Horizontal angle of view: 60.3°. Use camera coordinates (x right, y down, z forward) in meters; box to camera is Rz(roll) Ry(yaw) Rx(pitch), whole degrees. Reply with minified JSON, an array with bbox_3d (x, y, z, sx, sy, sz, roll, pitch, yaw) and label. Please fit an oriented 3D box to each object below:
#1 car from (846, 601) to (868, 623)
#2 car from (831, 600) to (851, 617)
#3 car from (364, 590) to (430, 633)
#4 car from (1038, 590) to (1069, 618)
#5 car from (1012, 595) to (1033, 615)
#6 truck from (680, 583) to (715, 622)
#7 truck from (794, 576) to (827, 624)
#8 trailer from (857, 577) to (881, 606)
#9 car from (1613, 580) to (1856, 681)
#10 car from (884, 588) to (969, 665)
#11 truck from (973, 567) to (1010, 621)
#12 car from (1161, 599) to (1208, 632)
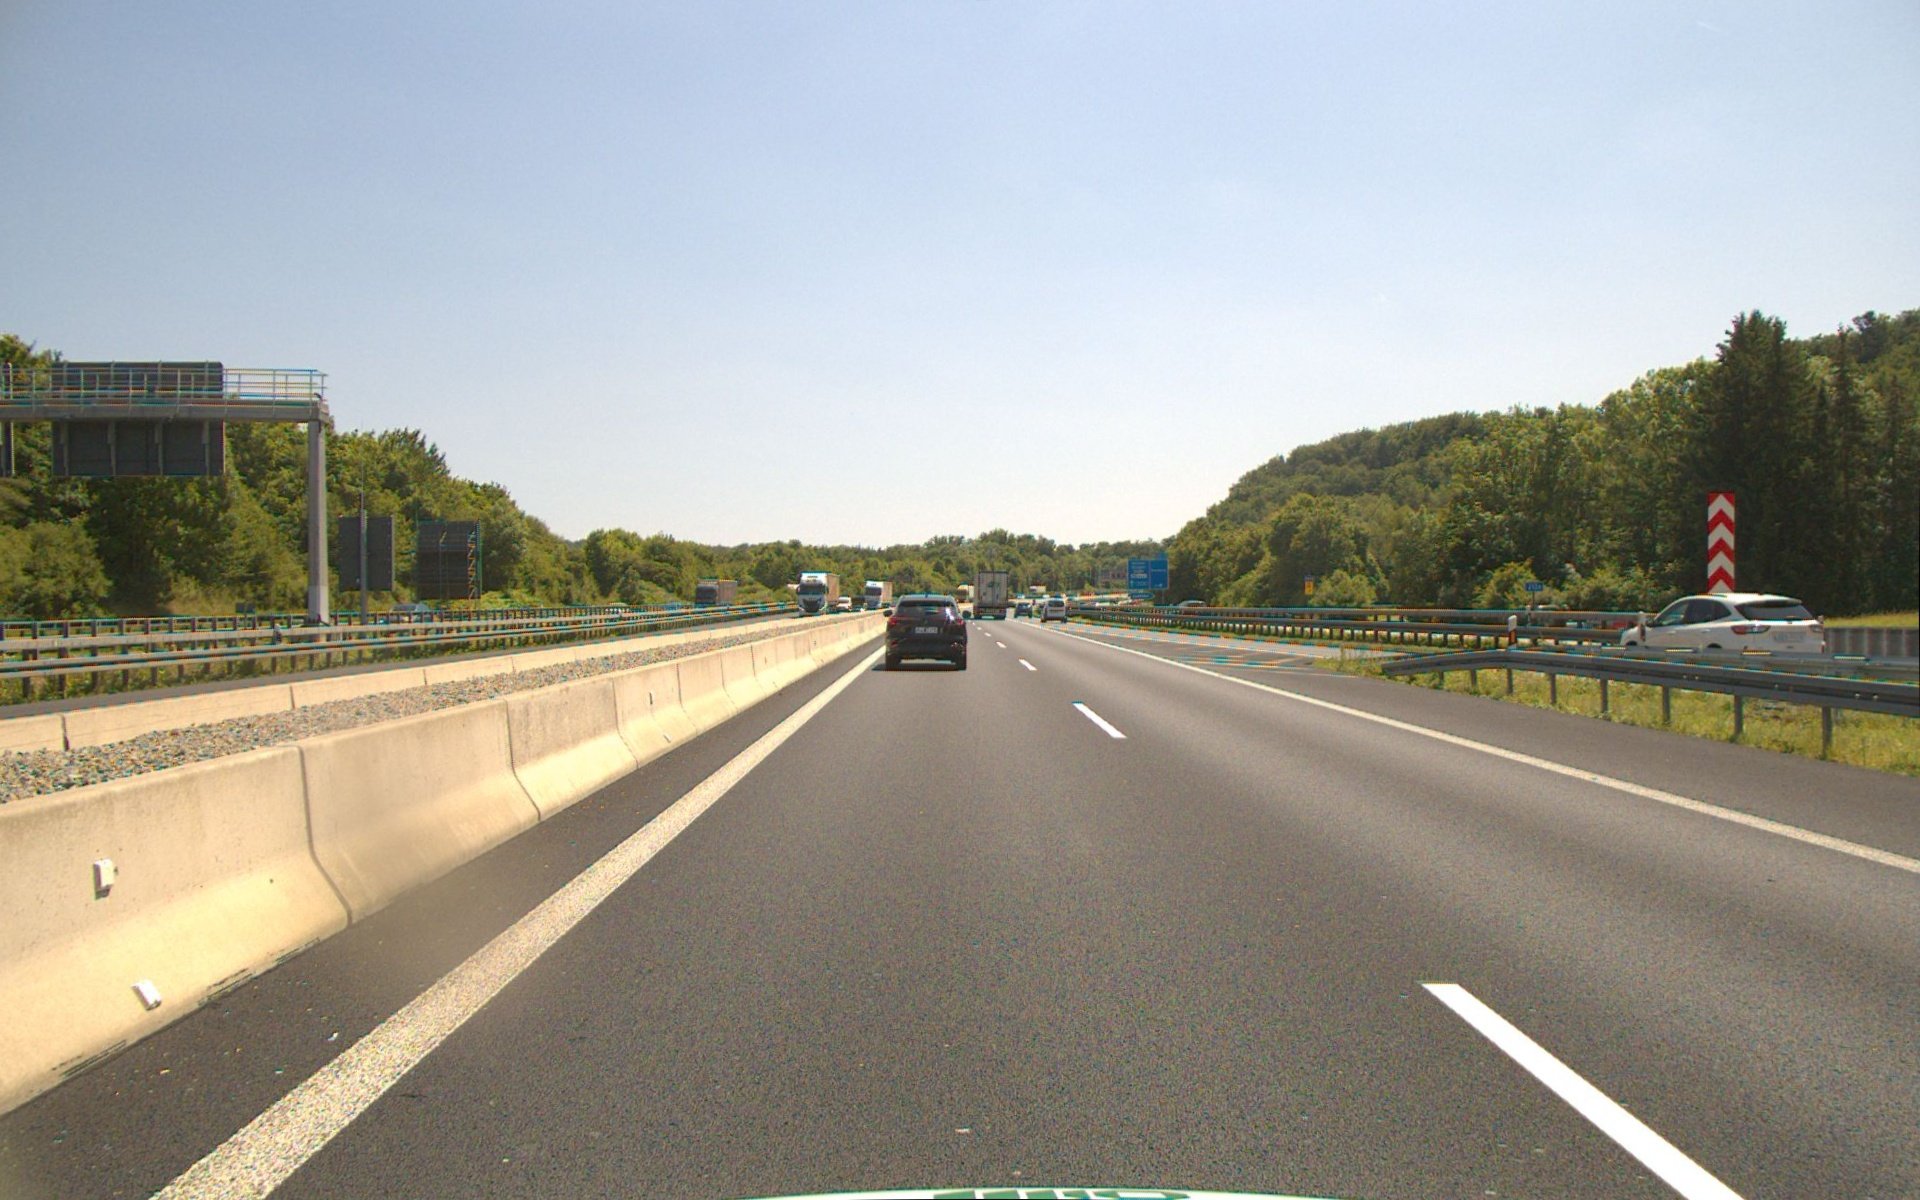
[{"bbox_3d":[-9.949,1.150,160.121,1.879,2.049,5.345,-1,0,-1],"label":"car"},{"bbox_3d":[-13.671,0.963,190.045,1.705,1.858,4.904,1,0,2],"label":"car"},{"bbox_3d":[-28.246,0.580,83.096,1.953,2.049,3.999,1,-1,-1],"label":"car"},{"bbox_3d":[7.143,0.318,126.984,1.954,2.049,3.998,-2,0,-2],"label":"car"},{"bbox_3d":[6.438,0.535,171.389,1.953,2.049,3.999,1,-1,0],"label":"car"},{"bbox_3d":[-29.662,0.317,187.037,2.751,4.347,5.000,1,-1,3],"label":"truck"},{"bbox_3d":[-13.809,0.030,152.734,2.651,4.363,4.552,1,-1,-1],"label":"truck"},{"bbox_3d":[-13.339,-1.236,243.079,2.850,4.116,12.061,1,0,0],"label":"trailer"},{"bbox_3d":[14.101,0.536,30.435,1.956,1.691,4.460,1,0,-7],"label":"car"},{"bbox_3d":[-0.800,0.583,37.079,1.744,1.605,3.997,1,0,-3],"label":"car"},{"bbox_3d":[2.837,-0.445,144.751,2.969,4.496,12.021,1,0,2],"label":"truck"},{"bbox_3d":[14.518,0.982,107.155,1.956,2.049,3.994,-2,0,-7],"label":"car"}]
